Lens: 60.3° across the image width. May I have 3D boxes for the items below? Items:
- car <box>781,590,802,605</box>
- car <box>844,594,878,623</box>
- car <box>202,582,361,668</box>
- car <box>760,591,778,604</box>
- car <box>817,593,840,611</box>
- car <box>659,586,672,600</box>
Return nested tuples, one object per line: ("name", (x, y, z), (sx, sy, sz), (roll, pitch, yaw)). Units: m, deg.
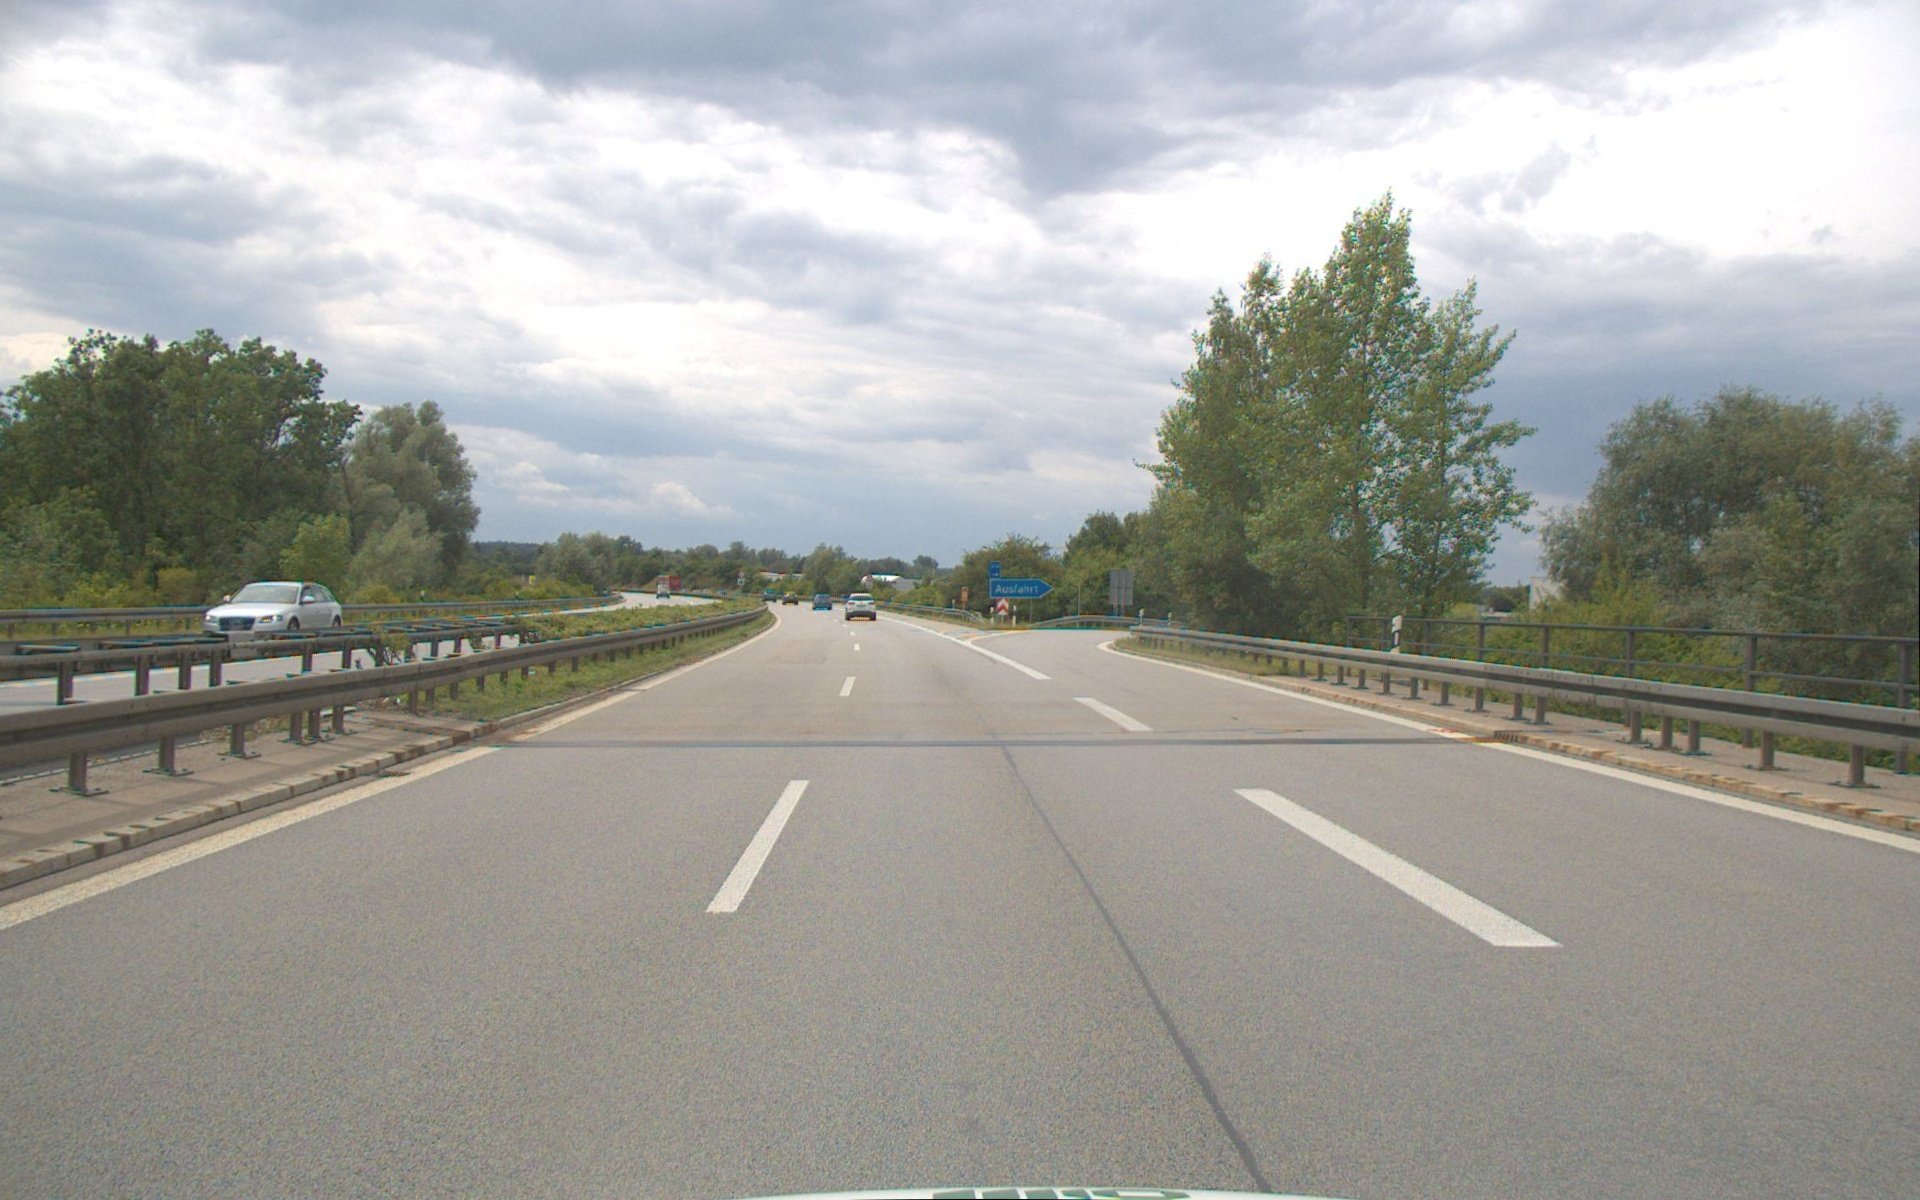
("car", (-20.424, -0.302, 200.289), (1.870, 1.668, 4.763), (1, 0, -13))
("car", (-6.219, 0.516, 103.680), (1.866, 1.668, 4.390), (1, 0, -6))
("car", (-14.904, 0.507, 36.625), (1.610, 1.745, 4.978), (1, 0, -2))
("car", (-26.665, -0.372, 230.290), (1.797, 1.825, 4.394), (1, 0, -16))
("car", (-12.563, 0.153, 157.641), (1.857, 1.668, 4.612), (1, 0, -9))
("car", (-43.499, -1.057, 244.321), (1.668, 1.917, 5.219), (1, 0, -7))
